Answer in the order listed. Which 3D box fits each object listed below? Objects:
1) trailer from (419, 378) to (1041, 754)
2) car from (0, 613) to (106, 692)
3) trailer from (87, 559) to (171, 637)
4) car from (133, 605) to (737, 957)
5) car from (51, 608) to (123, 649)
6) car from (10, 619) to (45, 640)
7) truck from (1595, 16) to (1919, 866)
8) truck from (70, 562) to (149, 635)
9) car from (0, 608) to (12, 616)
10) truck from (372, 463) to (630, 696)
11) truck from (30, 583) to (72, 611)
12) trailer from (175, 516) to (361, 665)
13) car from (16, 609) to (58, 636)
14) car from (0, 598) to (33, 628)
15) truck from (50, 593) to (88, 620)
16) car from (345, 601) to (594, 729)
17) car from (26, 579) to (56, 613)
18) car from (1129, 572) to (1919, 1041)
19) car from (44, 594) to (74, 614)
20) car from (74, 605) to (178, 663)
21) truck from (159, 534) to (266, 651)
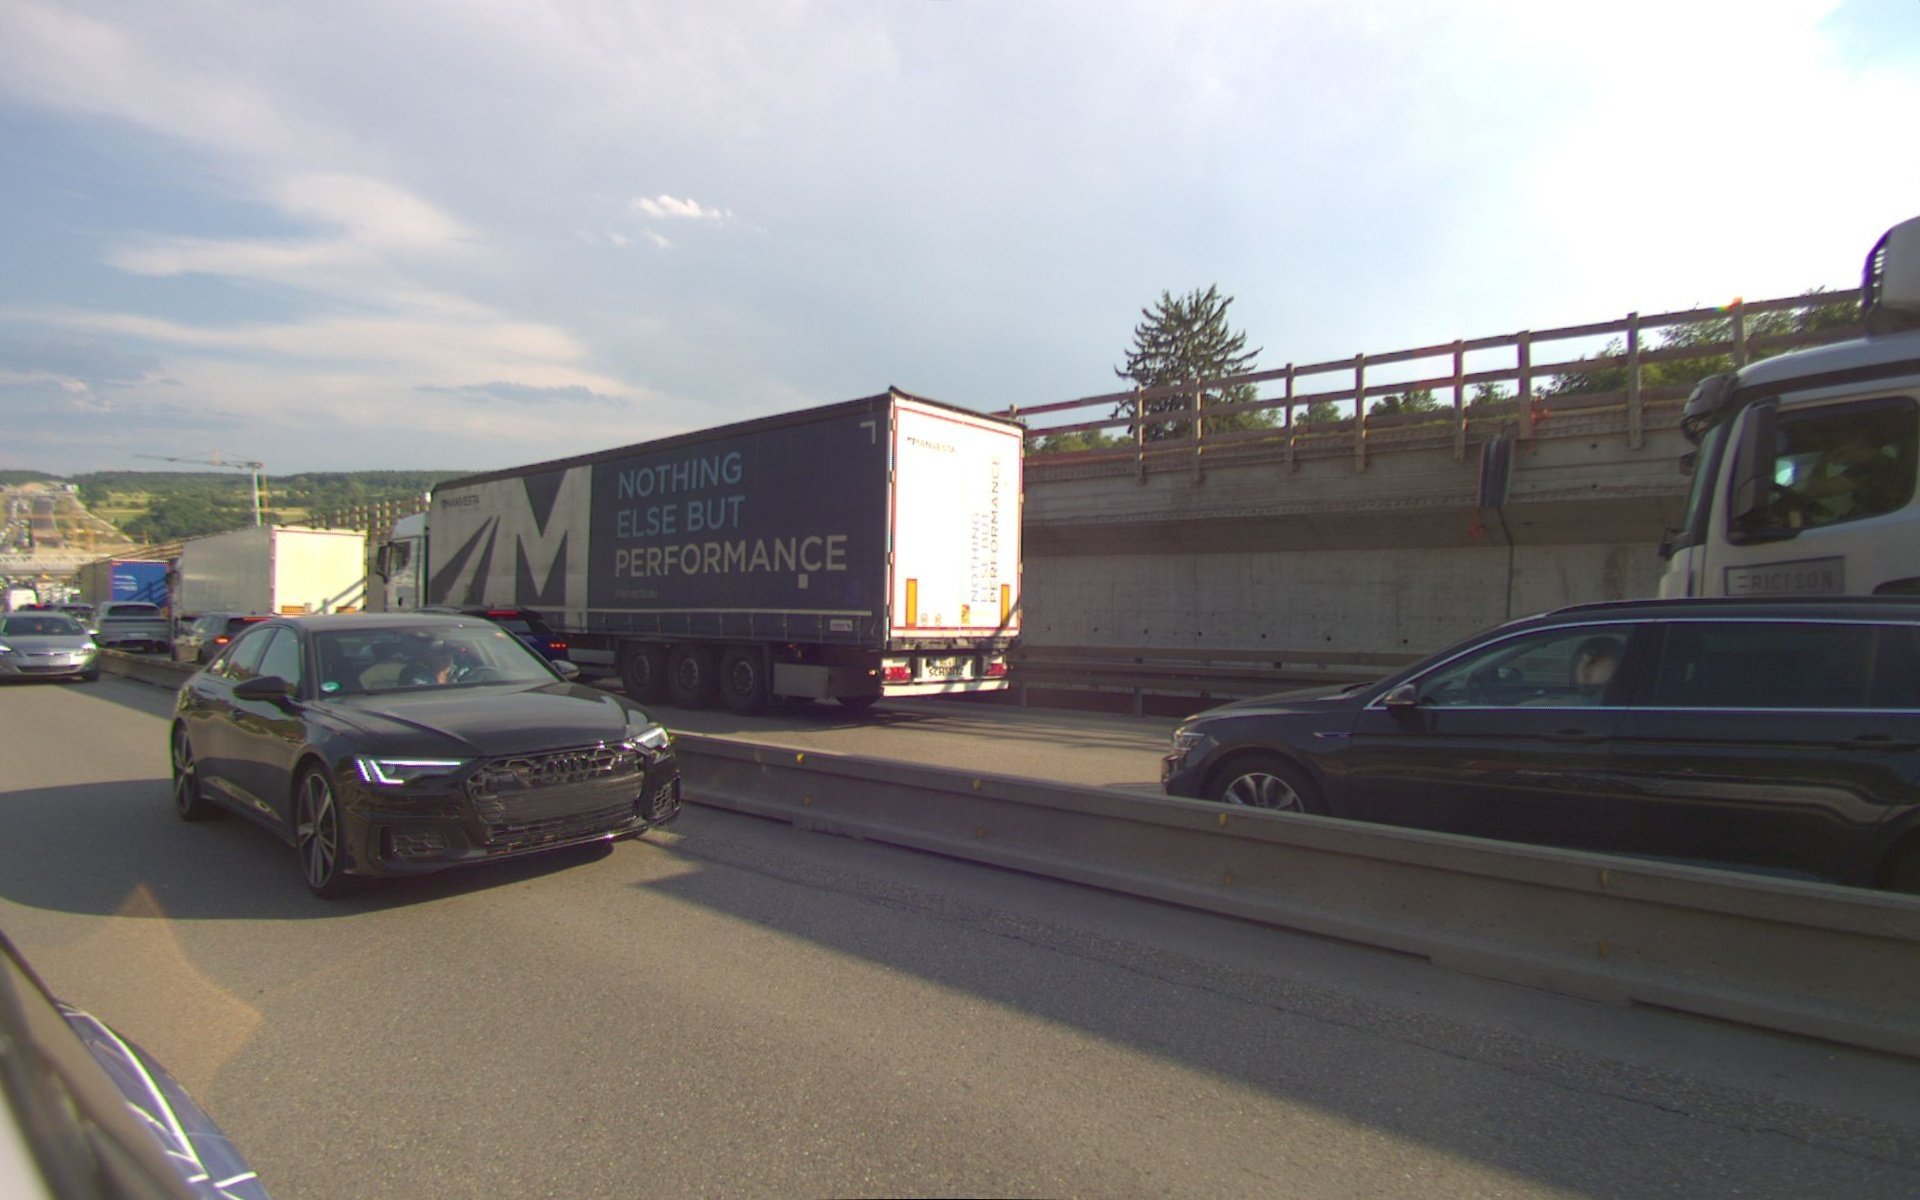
[{"bbox_3d":[-4.970,-0.363,17.049,13.830,4.235,2.746,0,-1,42],"label":"trailer"},{"bbox_3d":[-19.495,1.041,21.183,4.115,1.498,1.787,0,-2,40],"label":"car"},{"bbox_3d":[-47.666,-0.087,57.962,8.290,4.136,2.784,0,-1,45],"label":"trailer"},{"bbox_3d":[-3.831,0.809,6.794,5.221,1.491,1.919,-1,-2,43],"label":"car"},{"bbox_3d":[-39.142,1.244,45.356,4.731,1.619,1.860,0,2,42],"label":"car"},{"bbox_3d":[-70.531,2.199,76.526,4.594,1.451,1.722,-1,1,45],"label":"car"},{"bbox_3d":[6.847,-0.855,5.843,5.024,4.548,2.889,0,-1,41],"label":"truck"},{"bbox_3d":[-54.393,-0.055,64.590,10.585,4.290,2.784,0,-1,44],"label":"truck"},{"bbox_3d":[-158.572,2.002,167.989,1.688,1.329,3.667,-4,2,-44],"label":"car"},{"bbox_3d":[-9.876,-0.359,21.480,6.113,4.235,2.735,0,-1,42],"label":"truck"},{"bbox_3d":[-107.756,-0.307,119.987,6.491,3.169,3.198,0,-1,44],"label":"truck"},{"bbox_3d":[-24.422,-0.266,35.199,13.777,4.353,2.429,0,-1,43],"label":"trailer"},{"bbox_3d":[-56.885,1.389,62.359,4.371,1.588,1.680,0,-1,44],"label":"car"},{"bbox_3d":[-87.188,1.201,93.493,5.616,2.636,1.973,-1,-2,45],"label":"car"},{"bbox_3d":[-82.520,0.605,93.703,2.248,2.318,6.068,-4,2,-44],"label":"truck"},{"bbox_3d":[-7.382,0.824,15.021,4.478,1.562,1.748,1,1,42],"label":"car"},{"bbox_3d":[-150.506,-0.576,165.730,3.280,5.428,14.312,1,-1,-43],"label":"car"},{"bbox_3d":[3.325,0.697,4.769,4.744,1.598,1.843,1,3,42],"label":"car"},{"bbox_3d":[-97.796,0.413,109.839,2.184,2.037,3.976,-4,2,-44],"label":"car"},{"bbox_3d":[-27.764,1.055,33.631,4.974,1.667,1.986,0,2,43],"label":"car"},{"bbox_3d":[-29.846,-0.244,40.347,5.474,4.348,2.428,0,-1,43],"label":"truck"}]
